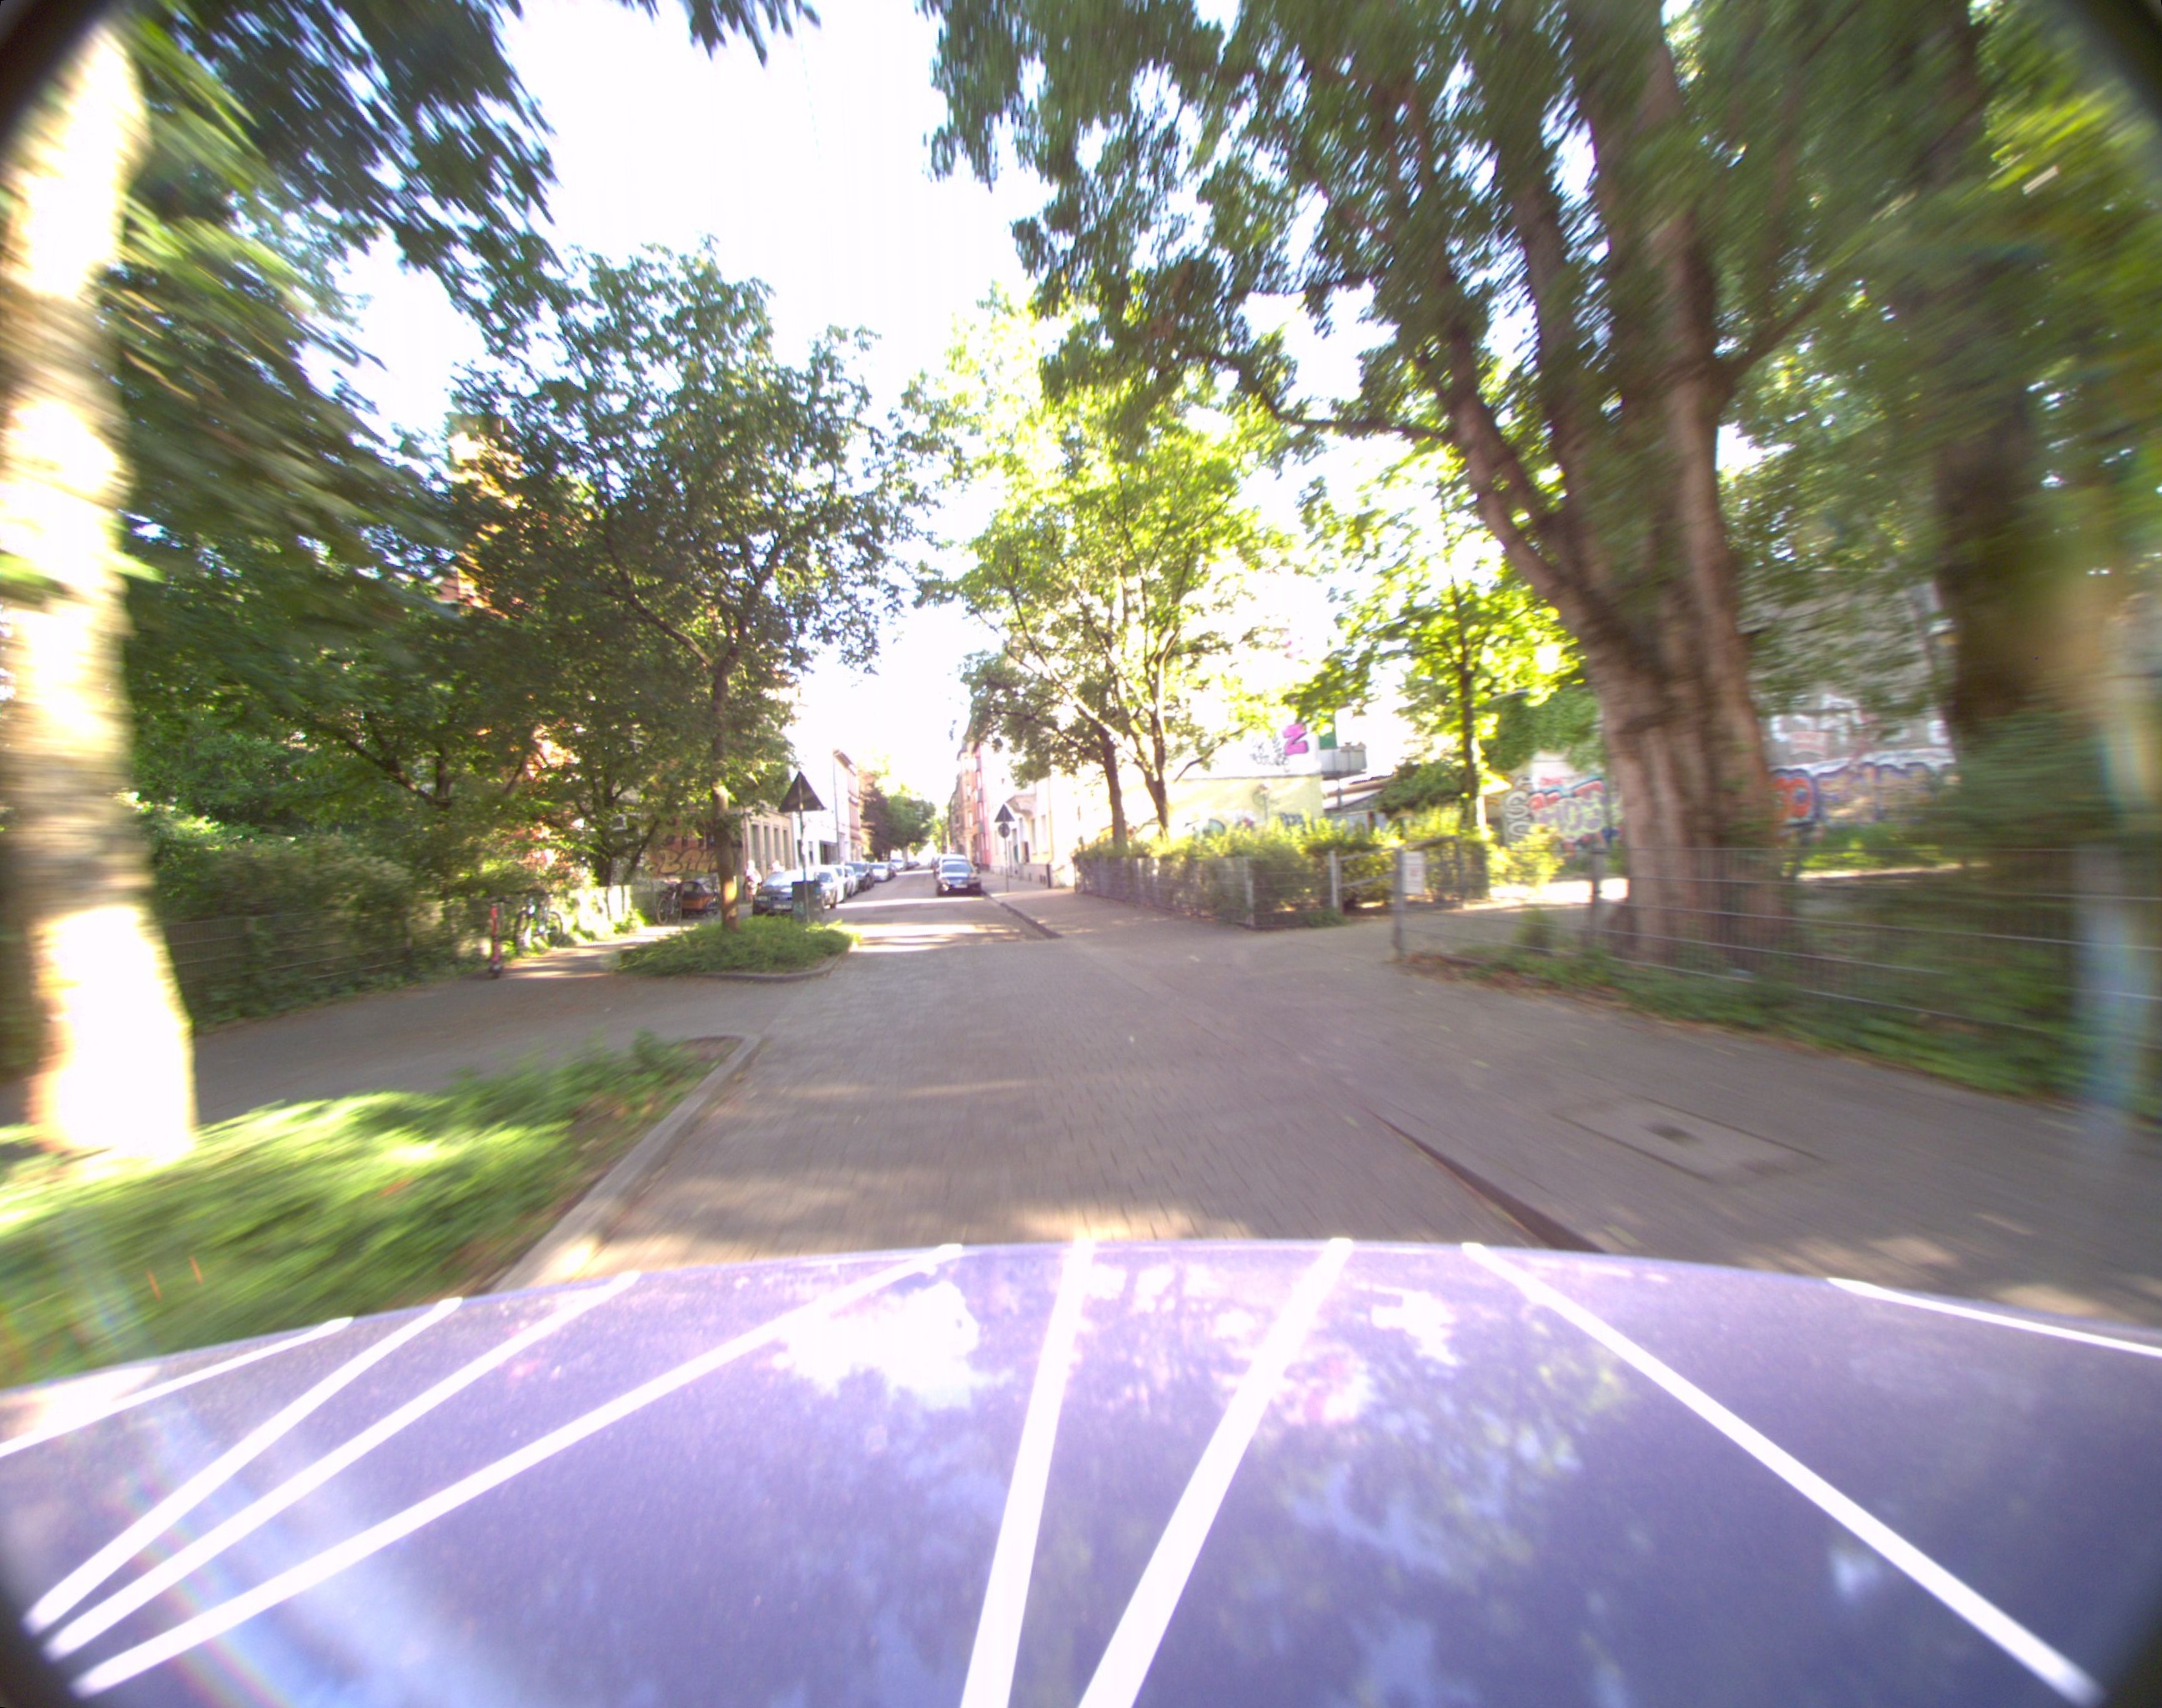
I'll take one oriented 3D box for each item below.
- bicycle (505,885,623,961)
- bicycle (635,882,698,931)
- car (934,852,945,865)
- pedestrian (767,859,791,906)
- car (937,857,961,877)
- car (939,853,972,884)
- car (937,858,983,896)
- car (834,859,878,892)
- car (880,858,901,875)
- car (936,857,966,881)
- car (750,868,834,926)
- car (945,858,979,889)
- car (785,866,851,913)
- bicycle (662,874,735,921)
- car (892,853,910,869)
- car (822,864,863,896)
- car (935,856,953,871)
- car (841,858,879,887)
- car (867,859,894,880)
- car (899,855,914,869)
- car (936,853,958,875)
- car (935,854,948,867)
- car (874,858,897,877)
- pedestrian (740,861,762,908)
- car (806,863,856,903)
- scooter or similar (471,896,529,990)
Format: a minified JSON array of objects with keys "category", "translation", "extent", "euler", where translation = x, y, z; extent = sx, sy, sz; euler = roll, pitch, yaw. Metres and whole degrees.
[{"category":"bicycle","translation":[-10.337,1.328,15.354],"extent":[0.849,1.260,2.690],"euler":[-3,0,-9]},{"category":"bicycle","translation":[-11.292,1.397,20.762],"extent":[0.849,1.194,1.980],"euler":[-3,0,-9]},{"category":"car","translation":[-23.958,0.704,128.337],"extent":[1.770,2.075,4.259],"euler":[0,0,-11]},{"category":"pedestrian","translation":[-11.201,1.042,28.177],"extent":[0.712,1.699,0.751],"euler":[0,0,-11]},{"category":"car","translation":[-10.384,0.999,59.482],"extent":[1.770,1.463,3.812],"euler":[0,0,-11]},{"category":"car","translation":[-7.600,0.821,45.726],"extent":[1.756,1.731,4.310],"euler":[0,0,-12]},{"category":"car","translation":[-5.227,0.930,32.502],"extent":[1.785,1.435,4.387],"euler":[0,0,-11]},{"category":"car","translation":[-12.492,1.143,42.398],"extent":[1.772,1.657,4.324],"euler":[-2,0,-9]},{"category":"car","translation":[-18.465,1.199,73.744],"extent":[1.770,1.524,4.099],"euler":[0,0,-11]},{"category":"car","translation":[-8.598,0.972,50.557],"extent":[1.676,1.519,4.082],"euler":[0,0,-6]},{"category":"car","translation":[-8.800,1.224,23.445],"extent":[1.727,1.485,4.409],"euler":[-2,0,-12]},{"category":"car","translation":[-5.995,0.937,38.168],"extent":[1.599,1.442,3.482],"euler":[0,0,-9]},{"category":"car","translation":[-9.686,1.241,28.233],"extent":[1.665,1.485,4.349],"euler":[-1,0,-11]},{"category":"bicycle","translation":[-11.704,1.302,23.372],"extent":[1.295,1.294,2.325],"euler":[-1,0,-8]},{"category":"car","translation":[-23.778,0.910,100.505],"extent":[1.867,1.970,4.477],"euler":[0,0,-8]},{"category":"car","translation":[-11.767,1.251,37.668],"extent":[1.599,1.442,3.998],"euler":[-2,0,-13]},{"category":"car","translation":[-14.388,0.993,79.634],"extent":[1.770,1.524,4.099],"euler":[0,0,-11]},{"category":"car","translation":[-13.758,1.113,47.406],"extent":[1.888,1.657,4.323],"euler":[0,0,-11]},{"category":"car","translation":[-15.663,1.208,59.498],"extent":[1.770,1.508,4.099],"euler":[0,0,-11]},{"category":"car","translation":[-24.564,1.069,107.072],"extent":[1.770,1.846,4.281],"euler":[-3,1,-11]},{"category":"car","translation":[-11.453,0.840,64.718],"extent":[1.770,1.814,4.099],"euler":[0,0,-11]},{"category":"car","translation":[-19.790,0.911,108.006],"extent":[1.770,1.846,3.989],"euler":[0,0,-11]},{"category":"car","translation":[-17.616,1.199,68.667],"extent":[1.770,1.524,4.099],"euler":[-1,0,-11]},{"category":"pedestrian","translation":[-12.029,1.114,27.746],"extent":[0.599,1.699,0.705],"euler":[0,0,-11]},{"category":"car","translation":[-10.916,1.214,33.396],"extent":[1.599,1.576,3.760],"euler":[-2,0,-11]},{"category":"scooter or similar","translation":[-8.812,1.306,11.506],"extent":[0.547,1.254,1.469],"euler":[-2,1,-42]}]
